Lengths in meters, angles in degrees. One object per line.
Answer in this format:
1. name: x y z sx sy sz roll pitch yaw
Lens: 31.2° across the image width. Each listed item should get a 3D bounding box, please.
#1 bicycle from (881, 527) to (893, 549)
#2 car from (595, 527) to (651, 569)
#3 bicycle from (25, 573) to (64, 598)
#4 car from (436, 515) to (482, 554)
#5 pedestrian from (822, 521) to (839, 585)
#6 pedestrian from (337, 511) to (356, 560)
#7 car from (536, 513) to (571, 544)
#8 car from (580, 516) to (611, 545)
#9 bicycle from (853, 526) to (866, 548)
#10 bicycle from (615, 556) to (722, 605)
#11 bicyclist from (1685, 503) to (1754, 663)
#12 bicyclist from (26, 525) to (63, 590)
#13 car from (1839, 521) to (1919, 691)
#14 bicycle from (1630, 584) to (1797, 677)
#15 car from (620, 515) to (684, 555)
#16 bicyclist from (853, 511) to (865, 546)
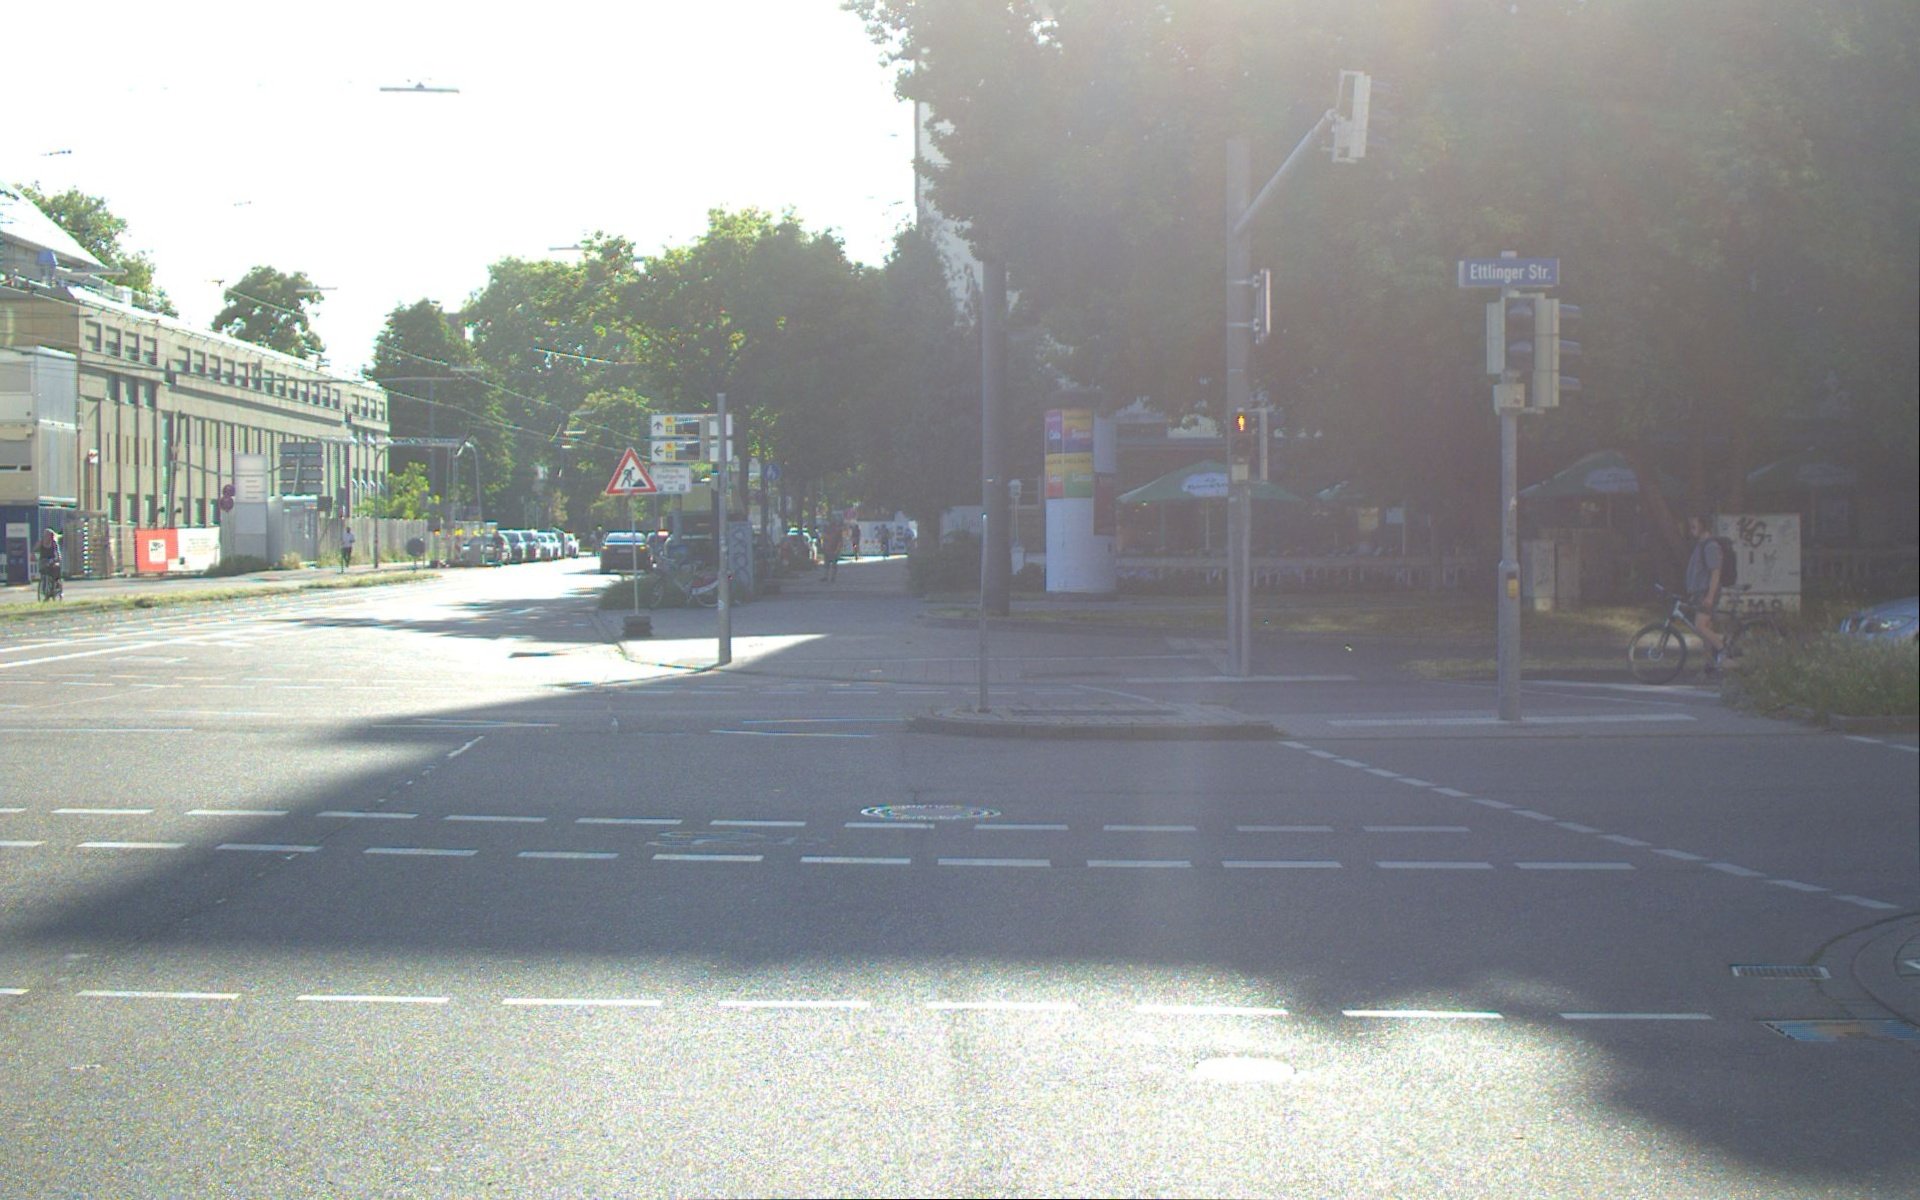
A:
1. bicycle: -3.564 -3.033 167.391 0.575 1.073 1.831 0 1 -1
2. car: -12.100 -1.881 123.605 1.660 1.450 4.432 1 1 -1
3. bicycle: -19.513 -0.312 73.282 0.501 0.513 1.258 1 1 -1
4. car: -22.777 -2.973 156.445 1.692 1.712 4.248 1 1 -4
5. pedestrian: -3.677 -1.339 97.601 0.463 1.807 0.503 0 1 -5
6. pedestrian: -25.645 -2.687 143.693 0.674 2.007 0.751 1 0 -3
7. car: -23.018 -4.040 194.690 1.692 1.712 4.248 1 1 -4
8. car: -22.411 -4.262 211.653 1.692 1.712 4.248 1 1 -4
9. bicycle: -4.874 -3.041 166.817 0.575 1.073 1.831 0 1 -1
10. bicycle: -5.728 -0.385 67.481 2.018 0.888 0.650 -2 0 27
11. bicyclist: 8.015 -0.184 36.280 0.643 1.677 0.507 0 1 5
12. bicyclist: -19.514 -0.896 73.288 0.596 1.372 0.638 1 0 -1
13. car: 10.758 0.023 33.413 3.993 1.605 1.650 -1 1 -1
14. bicycle: 7.946 0.316 36.296 1.667 0.960 0.533 0 1 5
15. car: -12.779 -2.701 143.008 1.892 1.560 4.807 3 1 3
16. bicyclist: -4.882 -3.472 166.810 0.569 1.685 0.700 0 1 -1
